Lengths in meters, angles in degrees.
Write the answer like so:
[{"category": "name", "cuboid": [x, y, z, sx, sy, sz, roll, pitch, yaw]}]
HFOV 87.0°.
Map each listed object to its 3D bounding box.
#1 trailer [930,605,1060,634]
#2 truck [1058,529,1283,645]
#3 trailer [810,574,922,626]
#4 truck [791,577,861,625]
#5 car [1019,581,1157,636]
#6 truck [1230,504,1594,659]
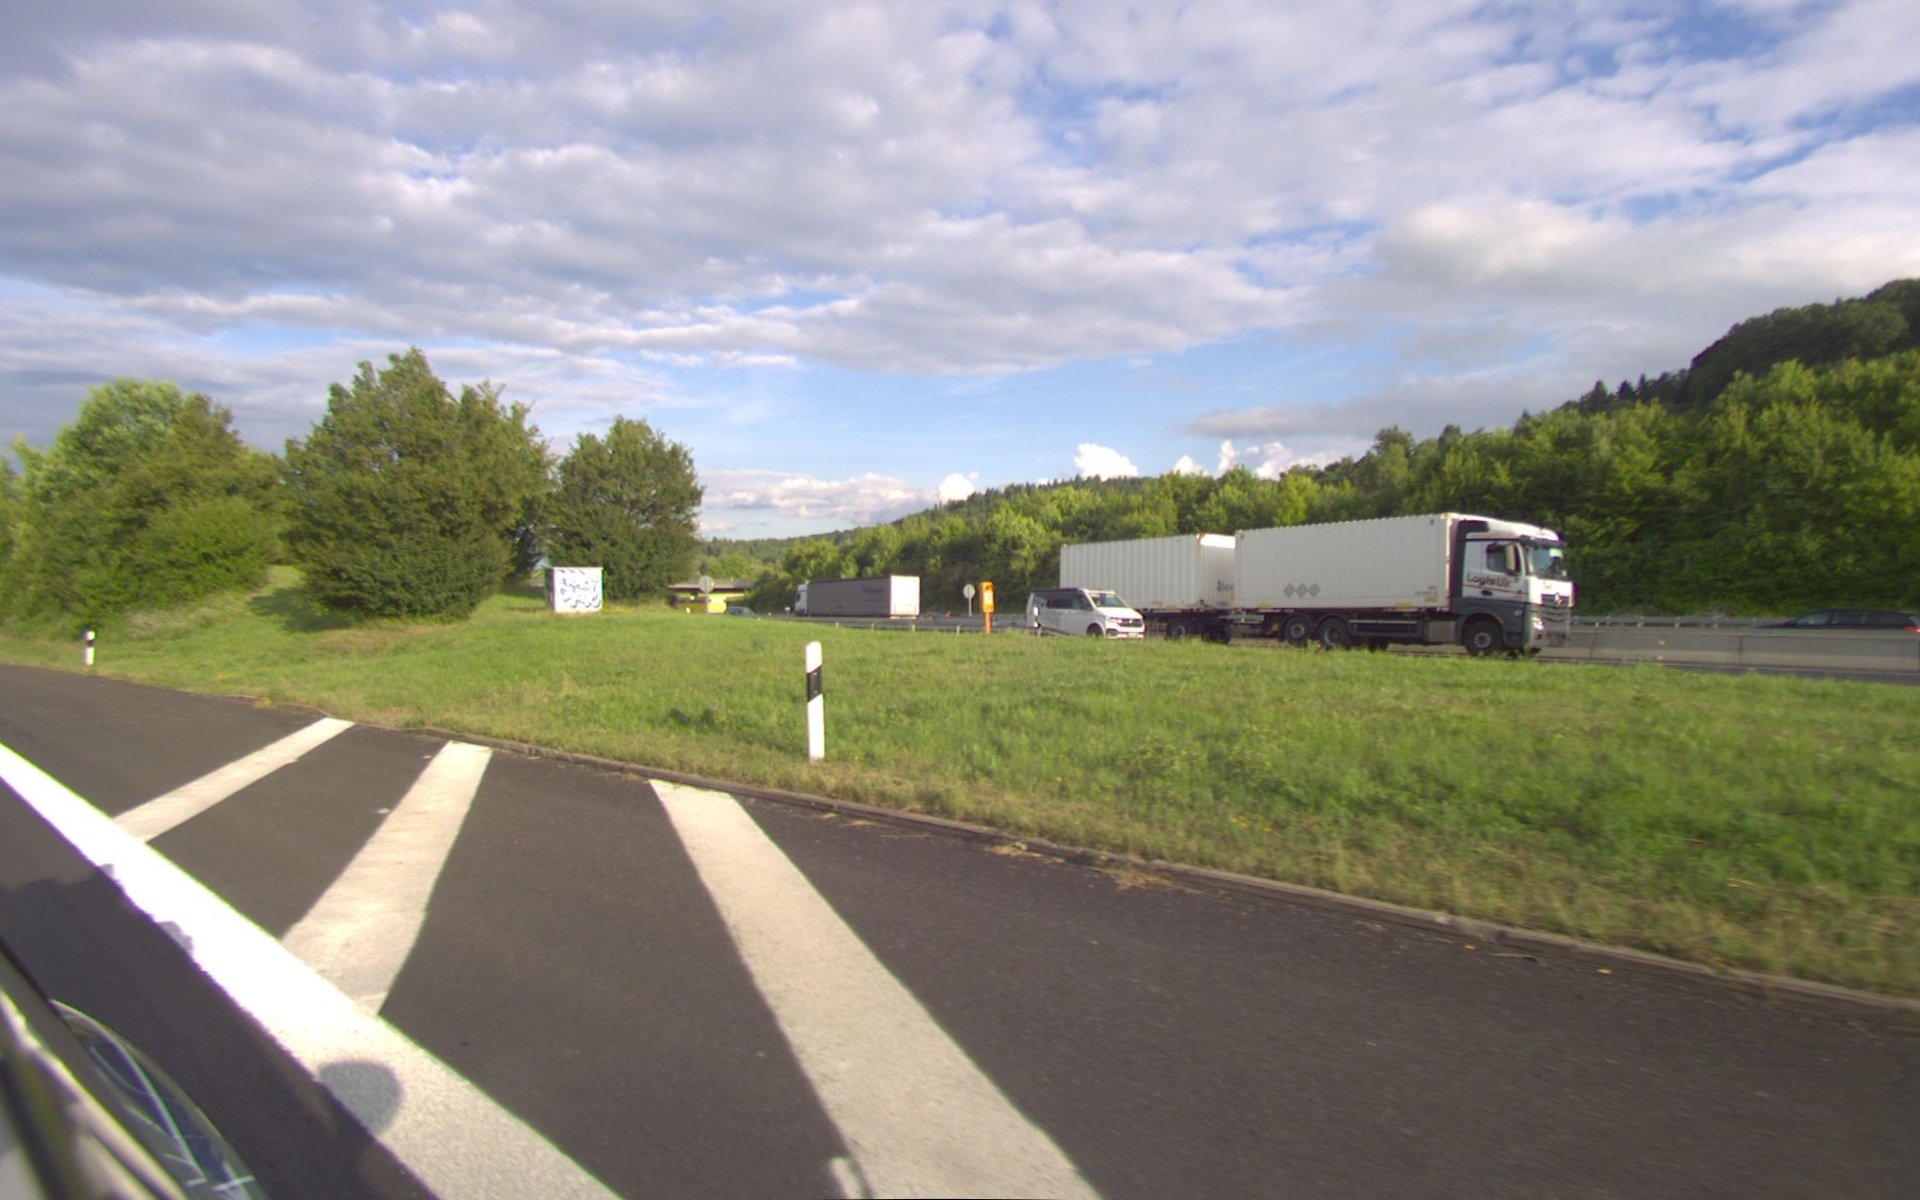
[{"category": "trailer", "cuboid": [1.263, 0.727, 39.826, 1.967, 1.043, 5.897, 0, 0, -35]}, {"category": "truck", "cuboid": [7.724, -0.391, 38.603, 2.732, 3.935, 8.902, 0, -1, -35]}, {"category": "trailer", "cuboid": [-7.787, 0.046, 81.246, 2.904, 3.917, 13.006, -1, 0, -35]}, {"category": "truck", "cuboid": [-11.503, 0.116, 86.472, 2.904, 3.917, 7.104, -1, 0, -35]}, {"category": "car", "cuboid": [4.383, 0.301, 35.456, 1.967, 1.790, 4.913, 0, -1, -35]}, {"category": "truck", "cuboid": [13.200, -0.421, 30.913, 2.732, 3.977, 10.178, 0, -1, -35]}]
